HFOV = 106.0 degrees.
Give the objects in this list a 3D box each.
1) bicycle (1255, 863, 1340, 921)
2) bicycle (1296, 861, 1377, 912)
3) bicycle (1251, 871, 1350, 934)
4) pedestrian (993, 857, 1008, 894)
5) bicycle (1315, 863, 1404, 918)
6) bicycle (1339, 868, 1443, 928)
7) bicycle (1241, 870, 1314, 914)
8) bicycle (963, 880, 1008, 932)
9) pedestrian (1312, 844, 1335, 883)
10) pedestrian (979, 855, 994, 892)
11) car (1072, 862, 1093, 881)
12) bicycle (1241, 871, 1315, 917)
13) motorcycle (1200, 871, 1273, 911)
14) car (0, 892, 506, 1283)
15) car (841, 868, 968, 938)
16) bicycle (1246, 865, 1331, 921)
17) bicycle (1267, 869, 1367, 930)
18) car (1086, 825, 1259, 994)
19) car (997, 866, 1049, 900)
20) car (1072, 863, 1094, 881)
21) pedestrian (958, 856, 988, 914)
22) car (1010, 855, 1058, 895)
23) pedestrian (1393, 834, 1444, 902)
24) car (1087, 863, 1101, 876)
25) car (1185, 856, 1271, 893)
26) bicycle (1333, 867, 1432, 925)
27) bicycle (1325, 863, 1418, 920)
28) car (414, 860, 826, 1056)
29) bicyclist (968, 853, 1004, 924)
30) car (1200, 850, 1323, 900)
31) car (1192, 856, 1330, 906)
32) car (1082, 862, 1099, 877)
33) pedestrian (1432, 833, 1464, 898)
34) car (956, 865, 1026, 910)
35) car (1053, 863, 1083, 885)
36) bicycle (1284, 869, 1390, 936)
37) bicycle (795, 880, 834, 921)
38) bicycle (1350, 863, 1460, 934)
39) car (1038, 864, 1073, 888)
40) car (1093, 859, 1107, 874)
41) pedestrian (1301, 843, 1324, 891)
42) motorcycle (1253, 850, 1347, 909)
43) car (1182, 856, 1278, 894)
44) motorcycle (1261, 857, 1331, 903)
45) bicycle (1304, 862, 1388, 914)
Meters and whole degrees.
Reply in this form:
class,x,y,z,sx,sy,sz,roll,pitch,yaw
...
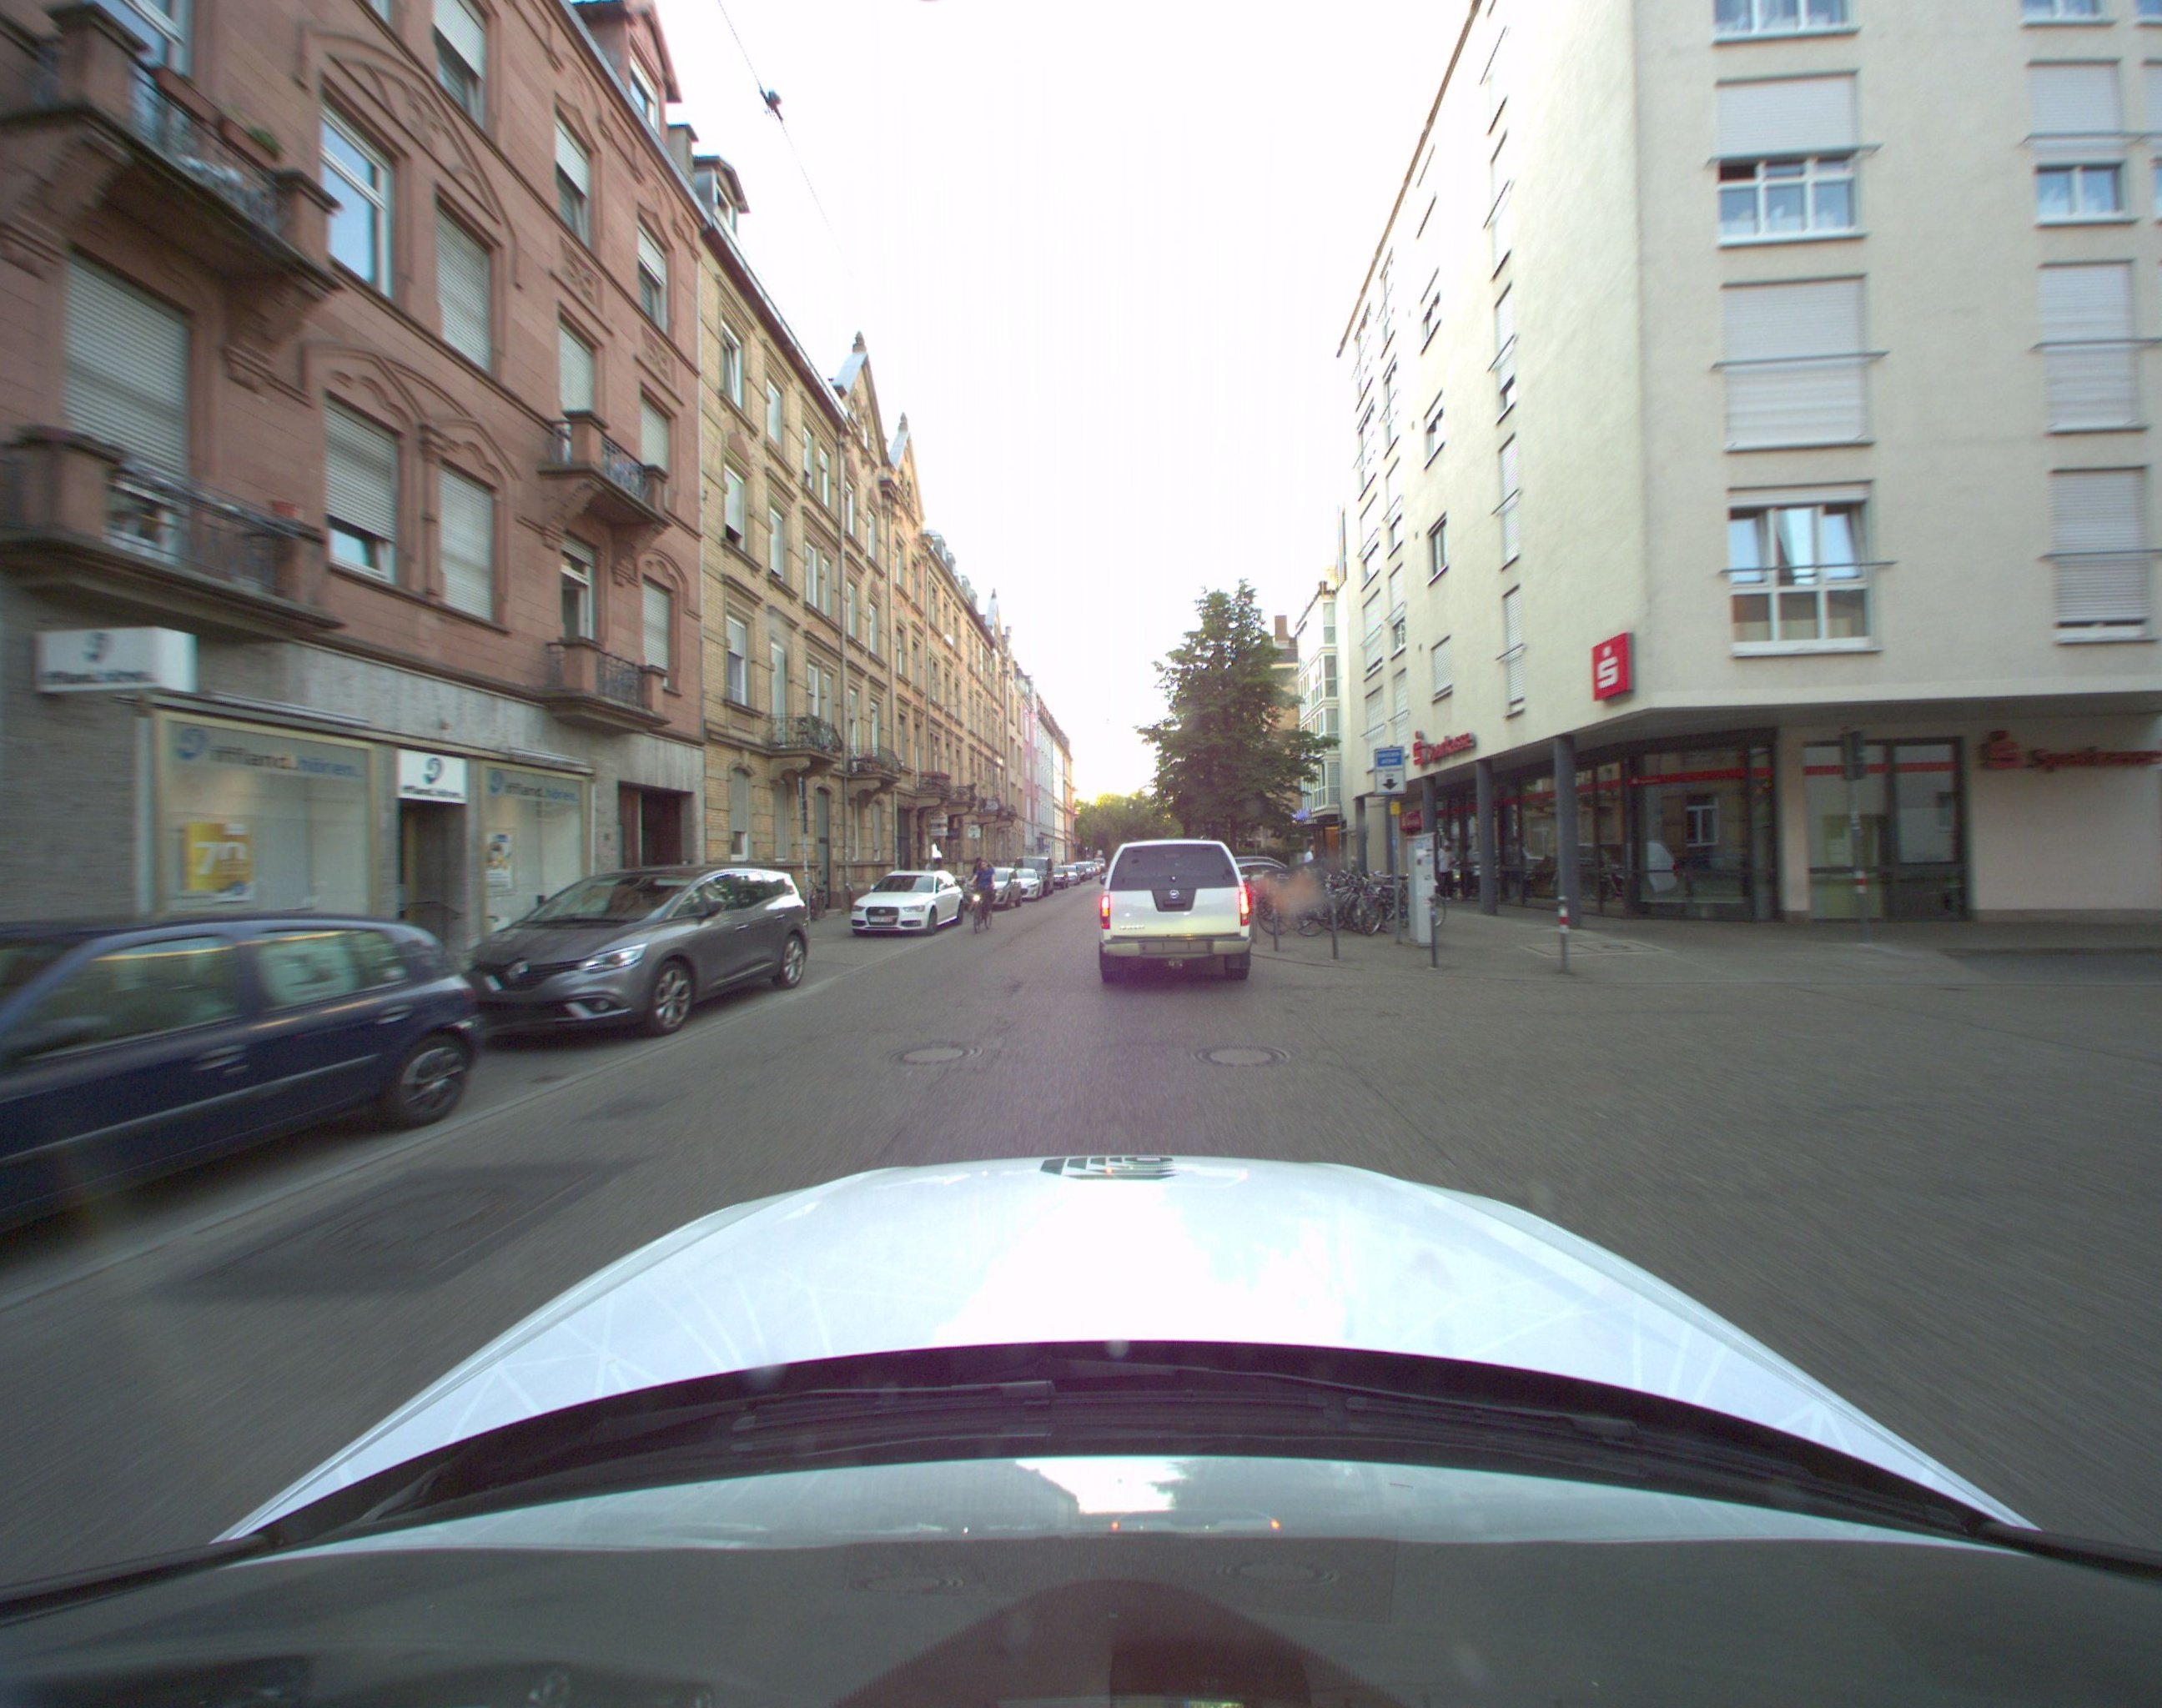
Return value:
class,x,y,z,sx,sy,sz,roll,pitch,yaw
bicycle,5.013,0.886,18.931,1.775,1.182,0.737,-5,-2,14
bicycle,6.212,0.789,19.850,1.716,1.118,0.654,-3,-2,1
bicycle,4.287,0.947,16.015,1.715,1.118,0.707,-3,-2,2
pedestrian,-4.039,1.073,40.803,0.603,1.772,0.777,2,0,0
bicycle,6.141,0.805,18.045,1.713,1.118,0.655,-3,-2,7
bicycle,5.930,0.838,15.651,1.713,1.054,0.655,-3,-2,7
bicycle,5.231,1.018,21.761,1.763,1.022,0.566,-5,-2,6
bicycle,-2.223,1.195,19.216,0.642,1.081,2.170,-3,-1,3
pedestrian,11.114,0.441,37.387,0.724,1.716,0.964,-3,-1,4
pedestrian,-4.698,0.960,40.539,0.578,1.772,0.997,2,0,0
car,0.153,1.609,76.334,1.838,1.659,4.253,-2,-1,1
bicycle,5.102,1.044,21.150,1.710,1.031,0.668,-5,-2,6
motorcycle,4.733,1.125,24.859,2.059,1.078,0.661,-3,-1,-12
car,-4.977,0.982,3.910,1.577,1.420,3.701,0,0,5
car,-4.058,1.071,19.532,1.750,1.412,4.513,0,0,4
bicycle,5.012,0.935,19.776,1.858,1.182,0.744,-5,-2,8
bicycle,4.833,0.925,16.772,1.802,1.118,0.707,-3,-2,2
car,1.356,0.657,11.772,1.900,1.853,5.280,1,-1,7
car,-2.537,1.254,36.662,1.776,1.423,4.488,1,-1,2
car,0.180,1.533,69.997,1.629,1.565,3.784,0,-1,3
pedestrian,-3.349,0.962,25.315,0.550,1.756,1.026,-1,-2,16
car,-2.347,1.059,42.023,1.986,1.924,4.953,1,-1,2
pedestrian,9.023,0.372,21.769,0.780,1.723,0.903,-4,1,-40
car,1.578,1.853,98.249,1.692,1.426,4.023,0,-1,2
car,7.058,0.977,39.377,3.783,1.452,1.734,-4,-1,-1
bicycle,6.016,0.835,16.319,1.713,1.054,0.655,-3,-2,7
bicycle,6.204,0.803,17.470,1.713,1.118,0.655,-3,-2,7
car,-4.638,0.899,9.166,1.844,1.633,4.451,0,0,4
bicyclist,-2.246,0.795,19.326,0.642,1.621,0.919,-3,-1,2
car,6.927,0.811,31.615,4.380,1.647,1.748,-3,-1,3
car,6.306,0.925,28.880,4.412,1.455,1.778,-3,-1,-2
car,1.100,1.721,92.473,1.691,1.621,4.026,0,-1,4
pedestrian,10.107,0.312,22.418,0.656,1.723,0.667,-2,1,32
car,-3.140,1.145,29.176,1.708,1.457,4.006,0,0,5
car,-0.933,1.455,60.216,1.826,1.458,4.211,1,-1,4
bicycle,4.721,0.887,15.125,1.713,1.118,0.708,-3,-2,7
bicycle,-7.164,1.234,21.976,0.591,1.027,1.622,-1,0,-3
bicycle,5.816,0.788,14.630,1.721,1.132,0.577,-3,-2,-8
car,-1.569,1.378,51.174,1.729,1.418,4.783,0,-1,4
car,2.559,1.703,112.312,1.805,1.977,4.185,0,-1,0
pedestrian,8.609,0.480,30.279,0.625,1.753,0.586,0,-2,-7
motorcycle,6.389,0.732,23.853,2.478,1.549,0.825,-4,-2,6
car,6.670,0.947,36.815,3.972,1.456,1.829,-3,-1,1
motorcycle,7.088,0.848,26.865,2.050,1.369,0.717,-4,-1,0
bicycle,6.211,0.791,19.127,1.716,1.118,0.654,-3,-2,1
